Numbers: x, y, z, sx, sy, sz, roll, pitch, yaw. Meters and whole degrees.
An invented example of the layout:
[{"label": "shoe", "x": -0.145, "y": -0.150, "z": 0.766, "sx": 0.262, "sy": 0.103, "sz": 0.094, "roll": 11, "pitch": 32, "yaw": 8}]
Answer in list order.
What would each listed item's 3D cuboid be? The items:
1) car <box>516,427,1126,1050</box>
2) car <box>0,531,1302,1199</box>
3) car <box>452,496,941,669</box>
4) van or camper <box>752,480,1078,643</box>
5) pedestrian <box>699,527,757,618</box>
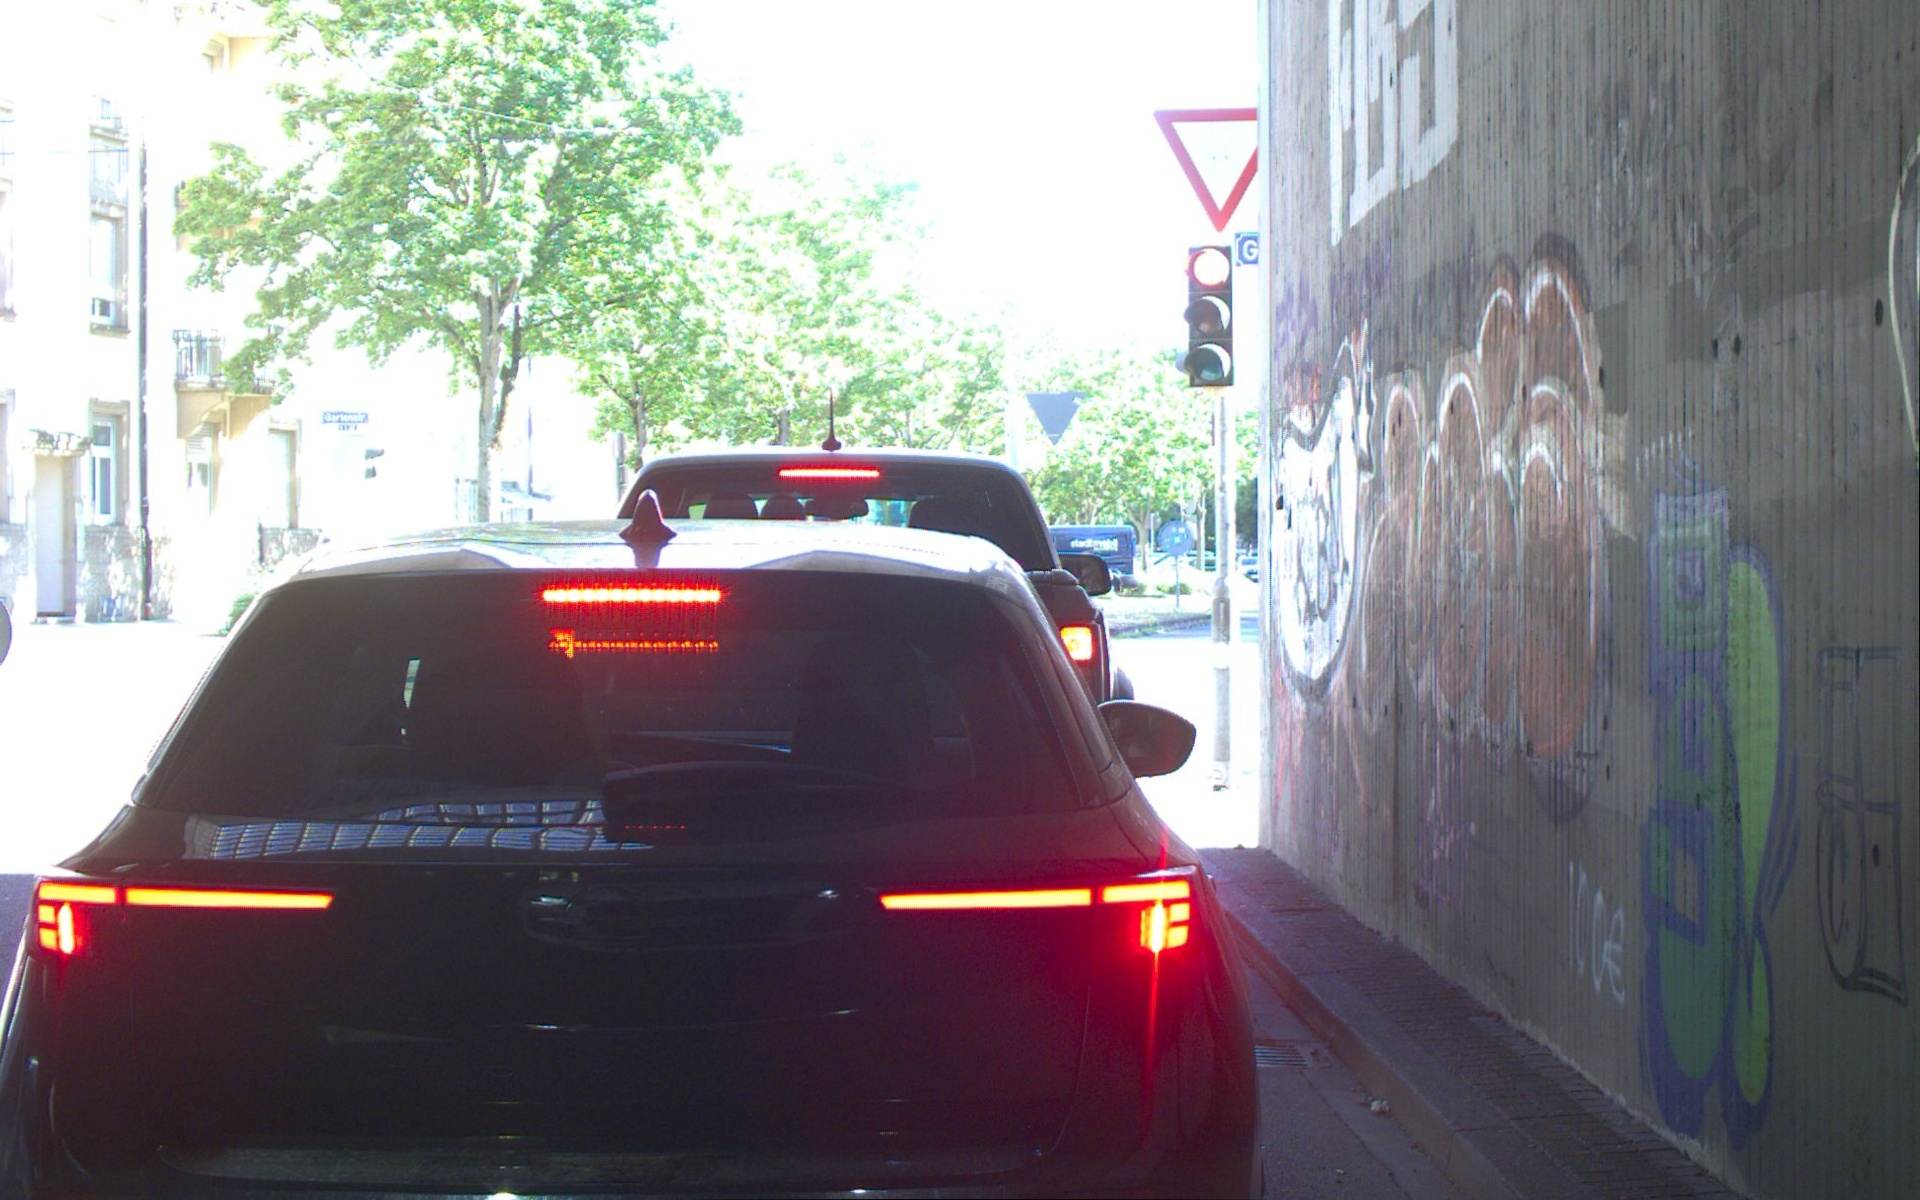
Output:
[{"label": "car", "x": -0.430, "y": 0.372, "z": 12.160, "sx": 1.786, "sy": 1.827, "sz": 3.961, "roll": 1, "pitch": 1, "yaw": 0}, {"label": "car", "x": -0.481, "y": 0.636, "z": 6.206, "sx": 1.753, "sy": 1.493, "sz": 4.000, "roll": 1, "pitch": 1, "yaw": 0}, {"label": "car", "x": -2.661, "y": -0.230, "z": 35.126, "sx": 4.578, "sy": 1.635, "sz": 2.000, "roll": -1, "pitch": 2, "yaw": -34}, {"label": "van or camper", "x": -0.529, "y": -0.492, "z": 43.428, "sx": 3.878, "sy": 2.007, "sz": 2.000, "roll": 0, "pitch": 1, "yaw": 7}, {"label": "pedestrian", "x": -4.100, "y": -0.487, "z": 60.758, "sx": 0.736, "sy": 1.579, "sz": 0.889, "roll": 1, "pitch": 0, "yaw": 15}]
